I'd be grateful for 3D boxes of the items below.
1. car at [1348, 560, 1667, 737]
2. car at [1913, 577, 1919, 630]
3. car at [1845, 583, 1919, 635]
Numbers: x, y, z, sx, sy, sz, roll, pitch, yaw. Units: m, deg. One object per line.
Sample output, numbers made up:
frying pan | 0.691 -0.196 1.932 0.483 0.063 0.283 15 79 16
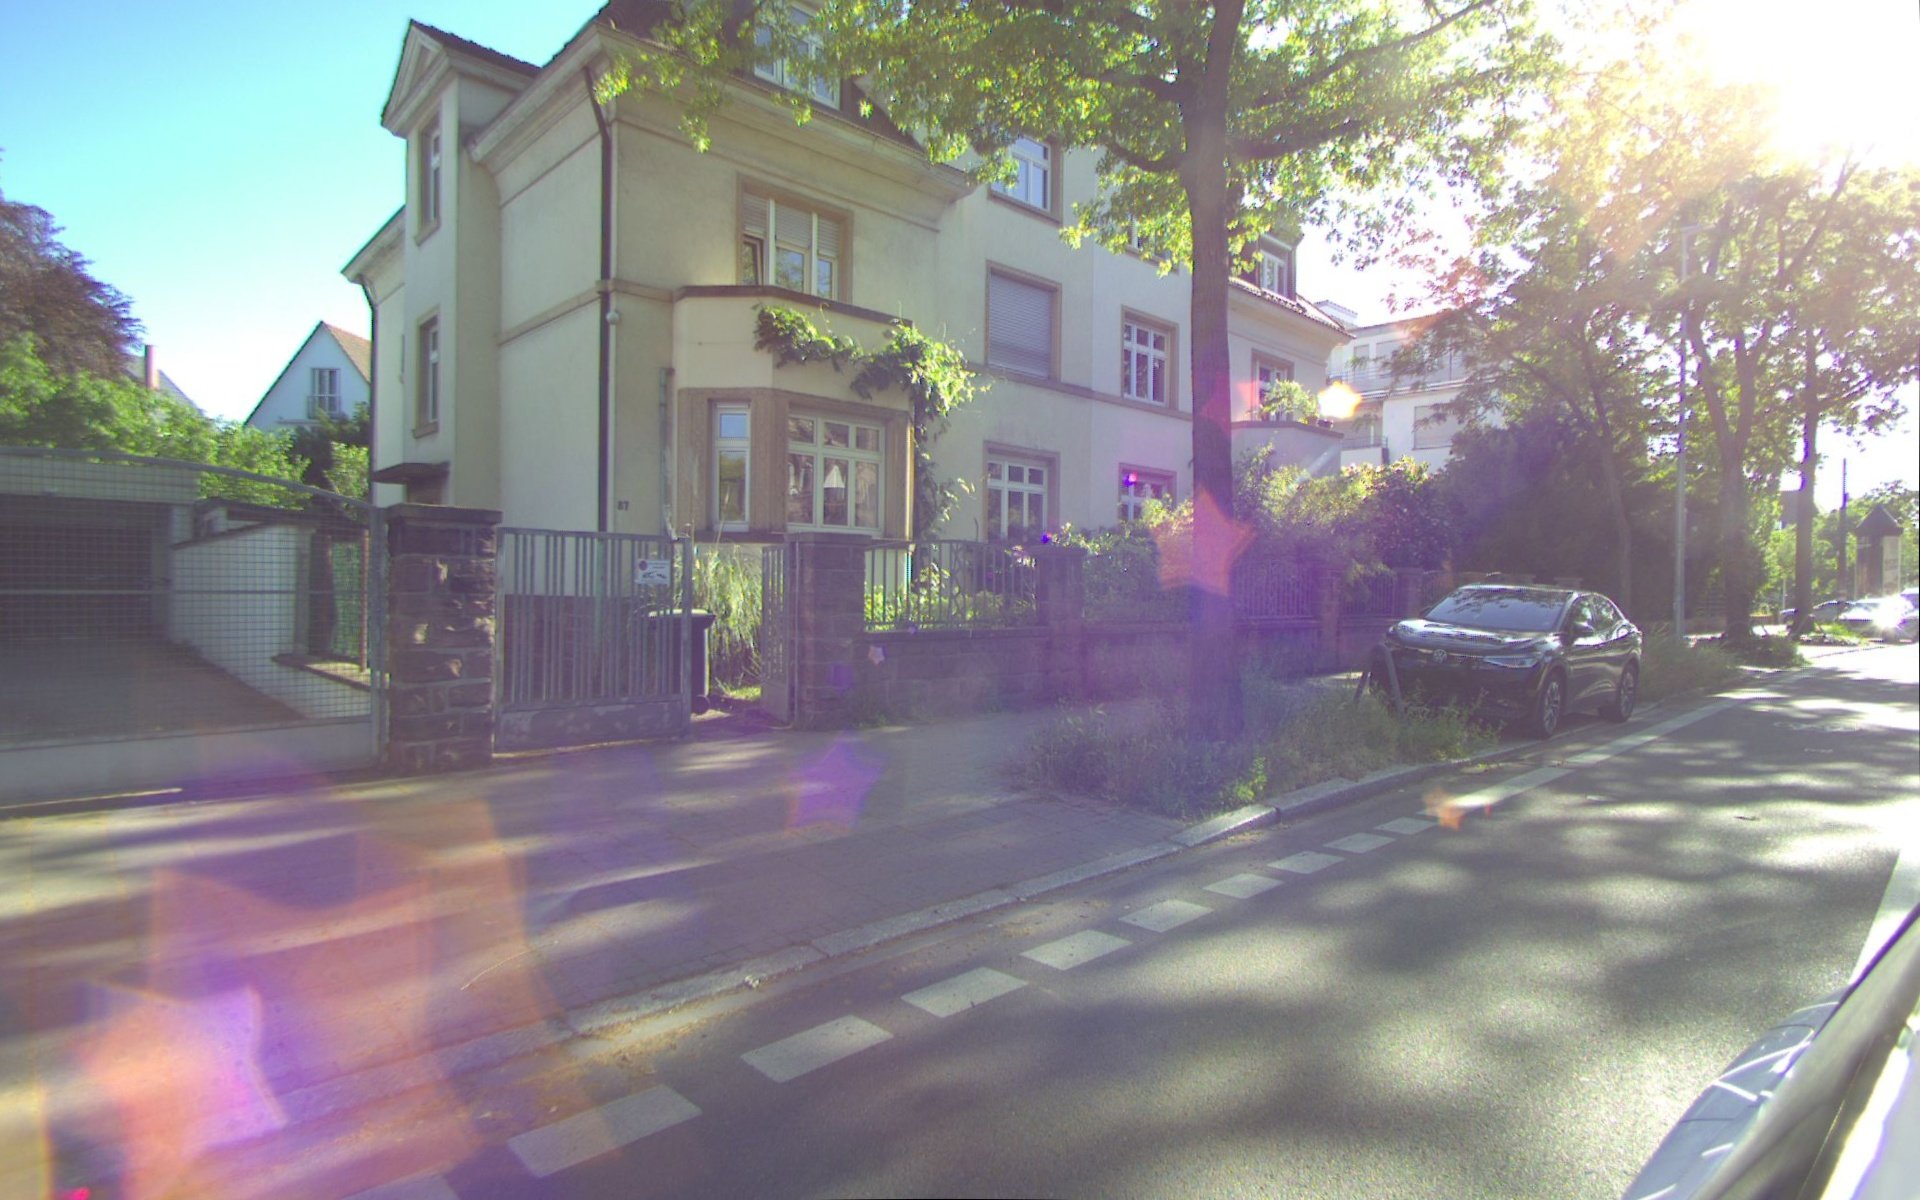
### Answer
car | 6.707 0.484 12.202 4.304 1.695 1.997 1 2 -42
car | 37.146 0.129 37.570 4.663 1.919 2.128 0 1 -41
car | 31.516 0.259 34.104 3.927 1.660 1.824 0 1 -38
